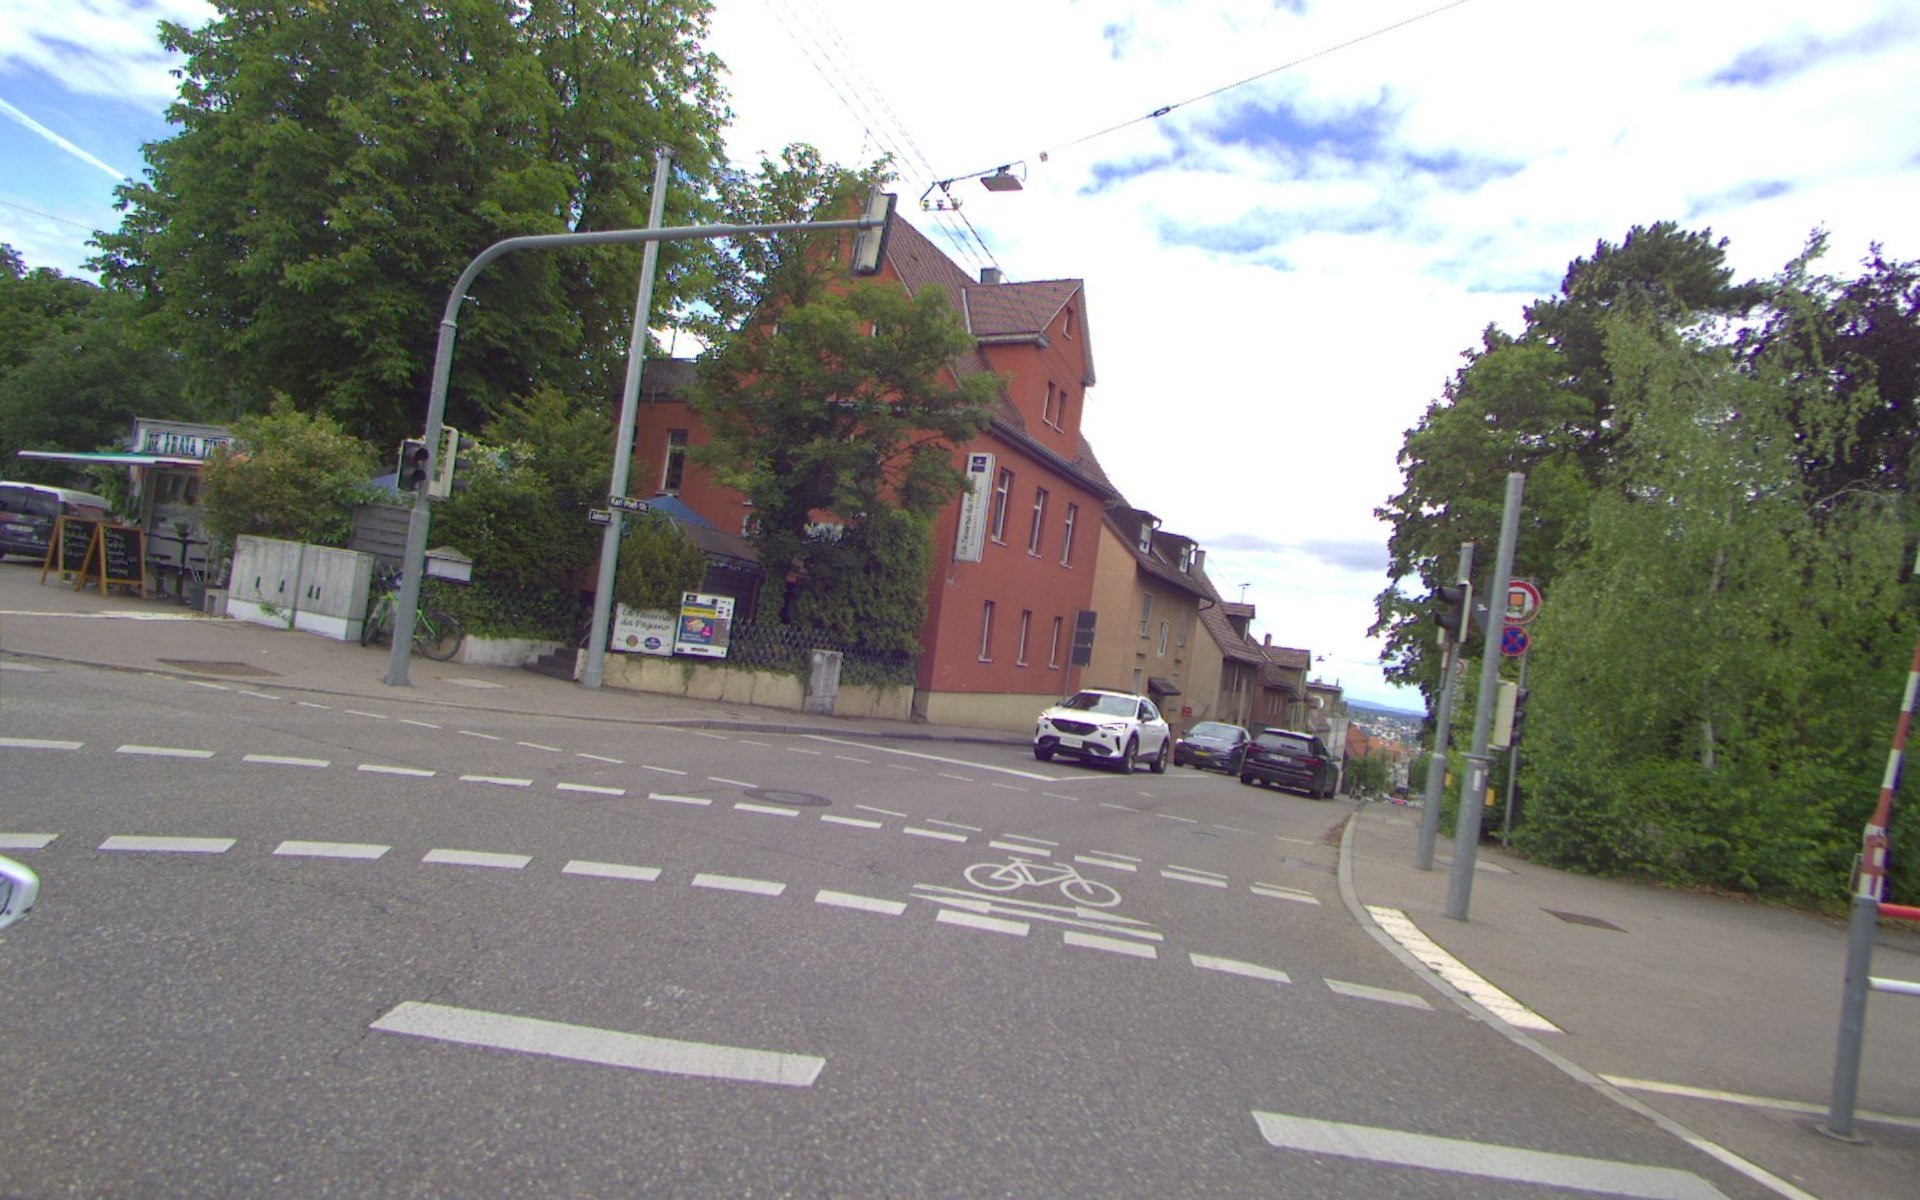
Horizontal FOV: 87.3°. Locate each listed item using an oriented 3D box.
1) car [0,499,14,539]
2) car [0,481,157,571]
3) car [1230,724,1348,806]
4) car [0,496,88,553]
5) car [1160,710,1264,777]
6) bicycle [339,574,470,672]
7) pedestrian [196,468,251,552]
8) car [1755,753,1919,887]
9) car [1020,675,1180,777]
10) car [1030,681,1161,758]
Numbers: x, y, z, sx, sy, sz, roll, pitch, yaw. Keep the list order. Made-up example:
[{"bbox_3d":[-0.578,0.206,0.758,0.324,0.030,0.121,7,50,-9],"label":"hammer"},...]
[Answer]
[{"bbox_3d":[-34.922,-3.050,34.424,1.519,1.394,3.518,9,-1,1],"label":"car"},{"bbox_3d":[-21.495,-1.715,24.208,1.826,1.769,4.674,8,-1,-20],"label":"car"},{"bbox_3d":[8.094,3.920,24.476,1.965,1.479,4.520,7,-3,27],"label":"car"},{"bbox_3d":[-30.557,-2.533,32.087,1.845,1.493,4.003,8,-2,0],"label":"car"},{"bbox_3d":[7.344,4.156,28.964,1.964,1.477,4.527,7,-5,25],"label":"car"},{"bbox_3d":[-8.633,0.352,15.628,1.843,1.152,0.550,11,0,20],"label":"bicycle"},{"bbox_3d":[-16.892,-2.068,23.067,0.667,1.781,0.684,10,2,38],"label":"pedestrian"},{"bbox_3d":[13.491,3.186,14.647,1.965,1.479,4.520,7,-3,27],"label":"car"},{"bbox_3d":[2.872,2.405,19.597,1.963,1.479,4.524,7,-3,22],"label":"car"},{"bbox_3d":[3.547,3.096,25.585,1.964,1.477,4.527,7,-5,24],"label":"car"}]
